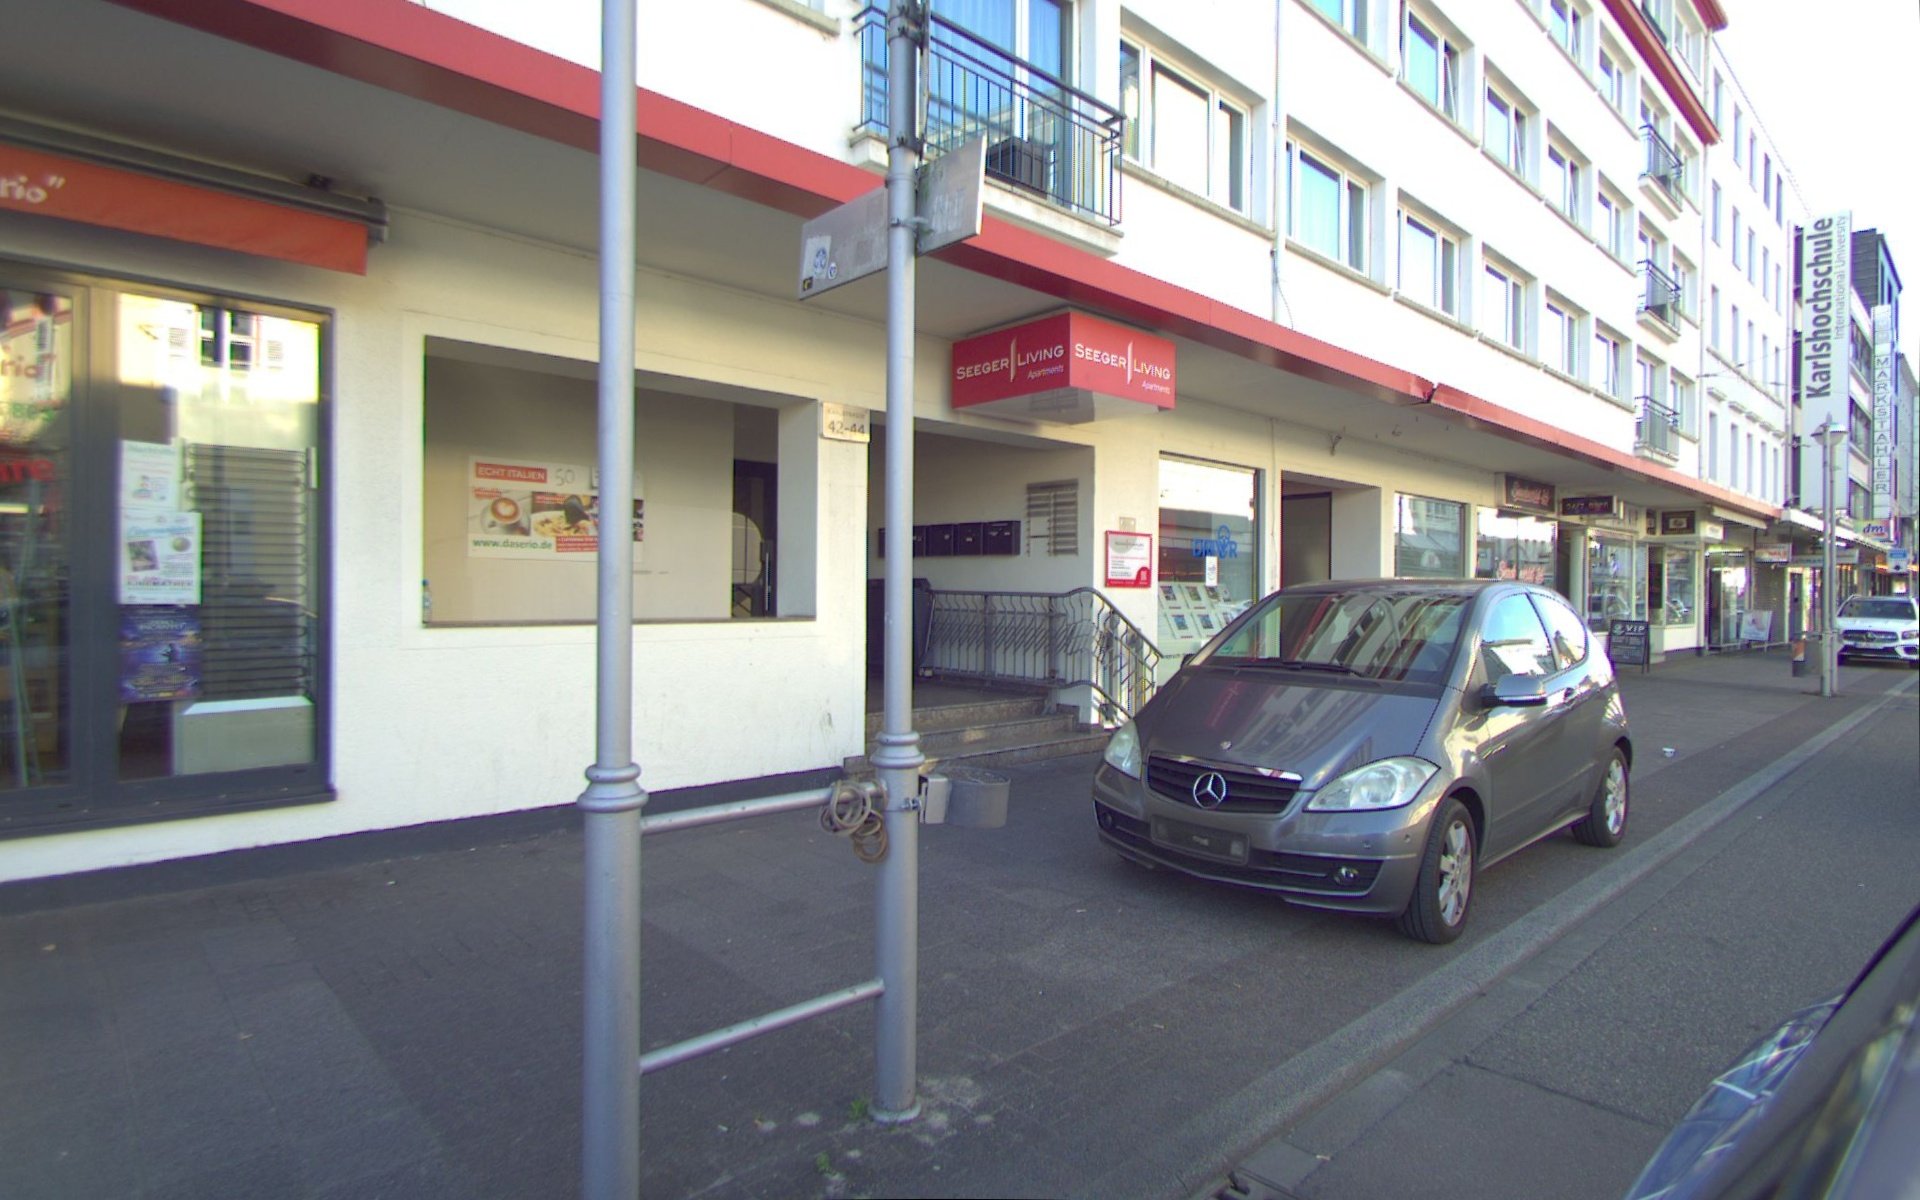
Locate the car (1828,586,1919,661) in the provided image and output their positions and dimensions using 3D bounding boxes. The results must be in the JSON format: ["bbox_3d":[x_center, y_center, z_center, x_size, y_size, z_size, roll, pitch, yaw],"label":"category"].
[{"bbox_3d":[22.391,0.513,24.352,1.994,1.650,3.935,1,1,45],"label":"car"}]

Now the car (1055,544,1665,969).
[{"bbox_3d":[2.468,0.579,5.697,3.932,1.565,1.681,0,0,-43],"label":"car"}]
